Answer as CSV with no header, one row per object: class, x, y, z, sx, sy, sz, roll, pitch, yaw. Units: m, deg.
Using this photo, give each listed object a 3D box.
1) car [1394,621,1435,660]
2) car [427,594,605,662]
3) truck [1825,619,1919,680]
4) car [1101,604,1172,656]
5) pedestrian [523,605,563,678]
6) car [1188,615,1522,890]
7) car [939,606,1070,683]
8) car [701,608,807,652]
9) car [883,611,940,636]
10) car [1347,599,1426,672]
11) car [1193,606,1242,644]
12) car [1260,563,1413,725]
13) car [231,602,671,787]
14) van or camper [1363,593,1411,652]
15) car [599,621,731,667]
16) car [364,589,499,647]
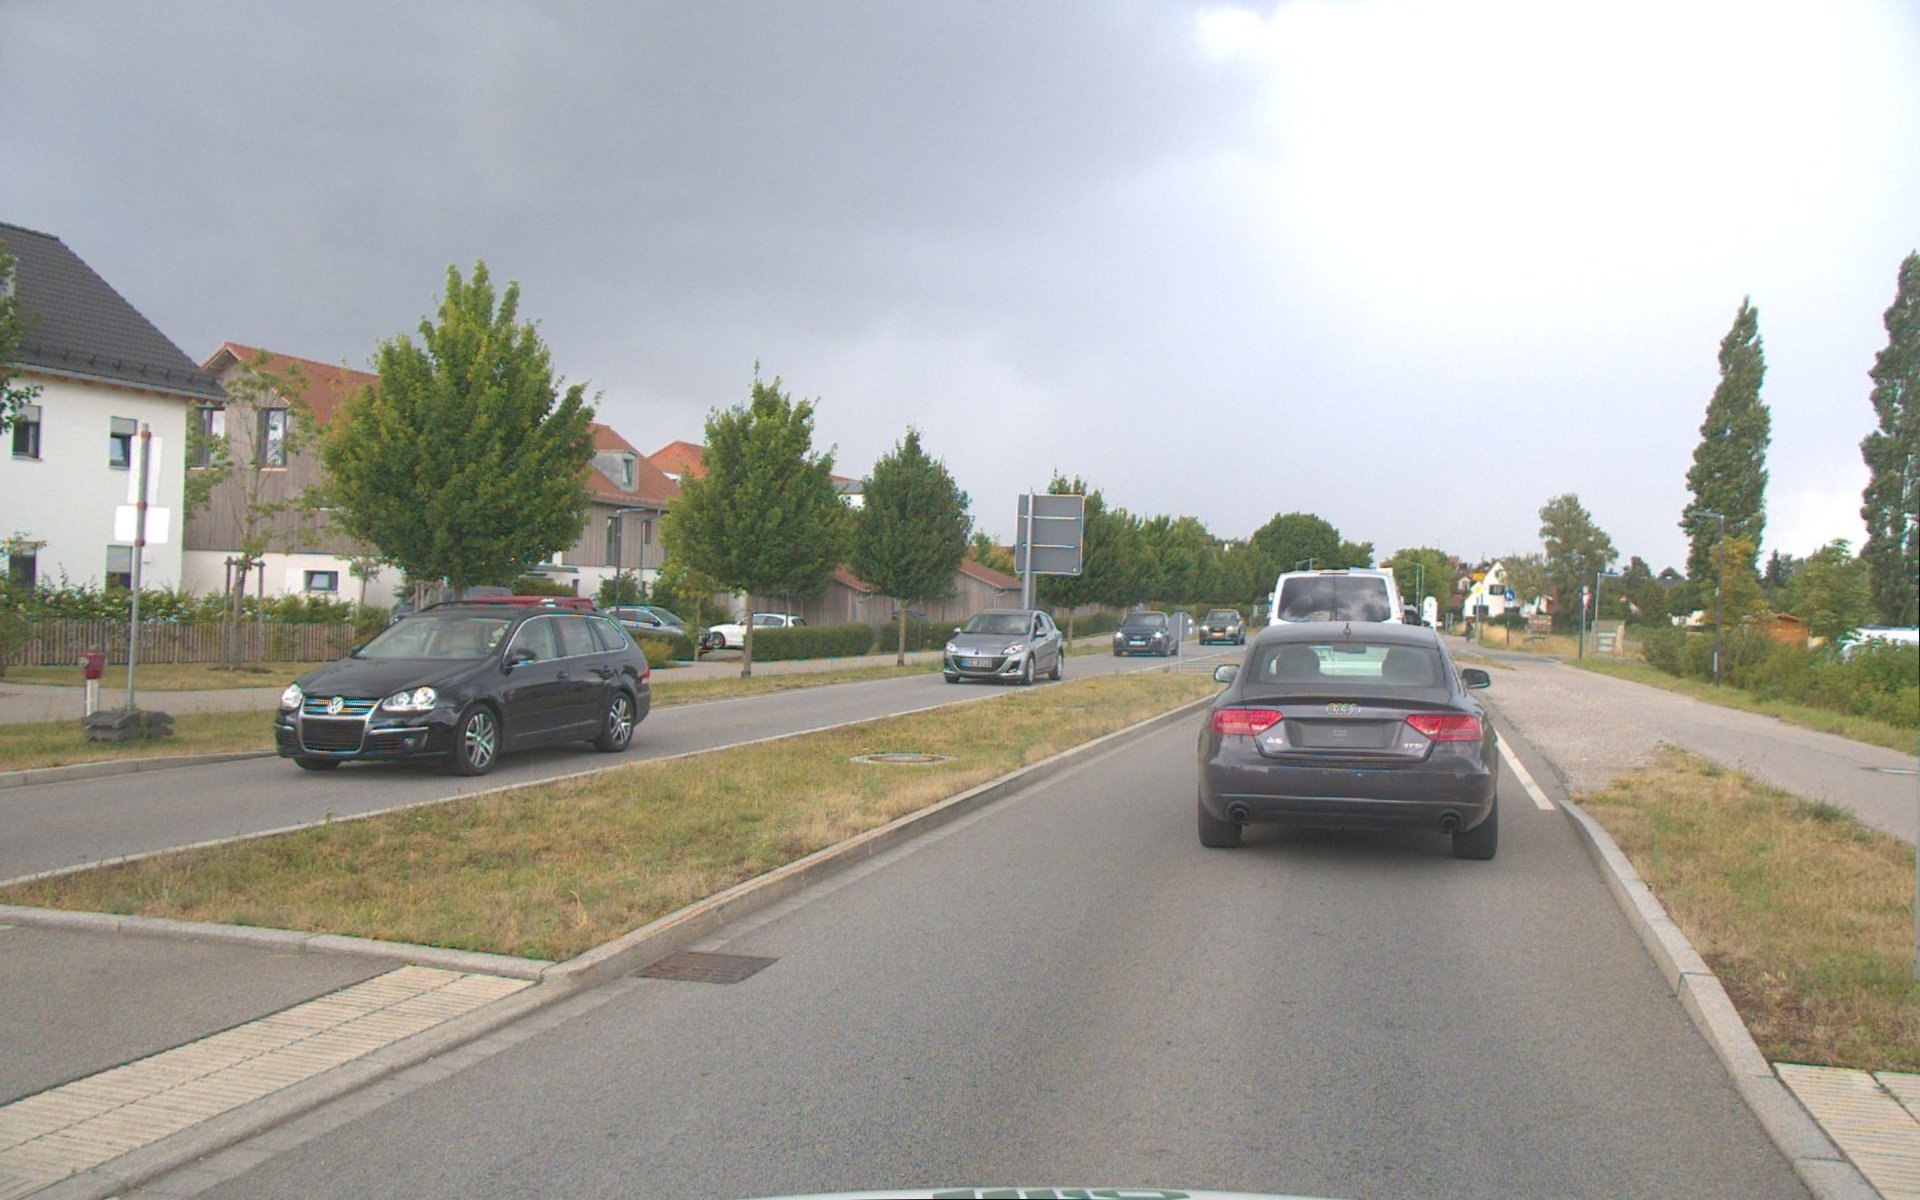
car,17.282,1.520,62.914,1.408,1.396,3.514,2,0,16
car,-12.446,0.760,46.434,4.436,1.709,2.001,2,0,18
truck,31.583,1.673,54.888,4.694,1.905,2.002,2,0,11
car,5.887,0.982,54.828,1.827,1.601,4.003,2,0,13
pedestrian,-9.240,0.921,36.649,0.569,1.586,0.660,2,0,13
car,2.627,0.844,11.160,1.746,1.416,4.136,2,0,13
car,0.980,0.879,33.667,1.693,1.434,4.208,0,-1,15
car,-7.961,1.149,63.974,3.650,1.508,1.688,2,0,12
car,-2.267,1.103,77.639,2.419,1.046,1.186,2,0,10
car,10.513,0.853,40.641,1.739,1.646,4.002,2,0,16
car,11.676,1.129,74.882,1.827,1.601,4.003,2,0,13
car,5.217,0.565,22.944,1.827,1.968,4.003,2,0,13
car,-4.466,0.771,15.329,1.716,1.441,4.458,0,-1,16
van or camper,25.764,1.387,99.868,2.569,3.382,6.826,2,-1,14
car,-9.719,1.429,54.551,3.831,1.338,1.844,2,0,13
car,-17.666,0.623,55.510,1.952,1.803,4.466,2,-1,20
